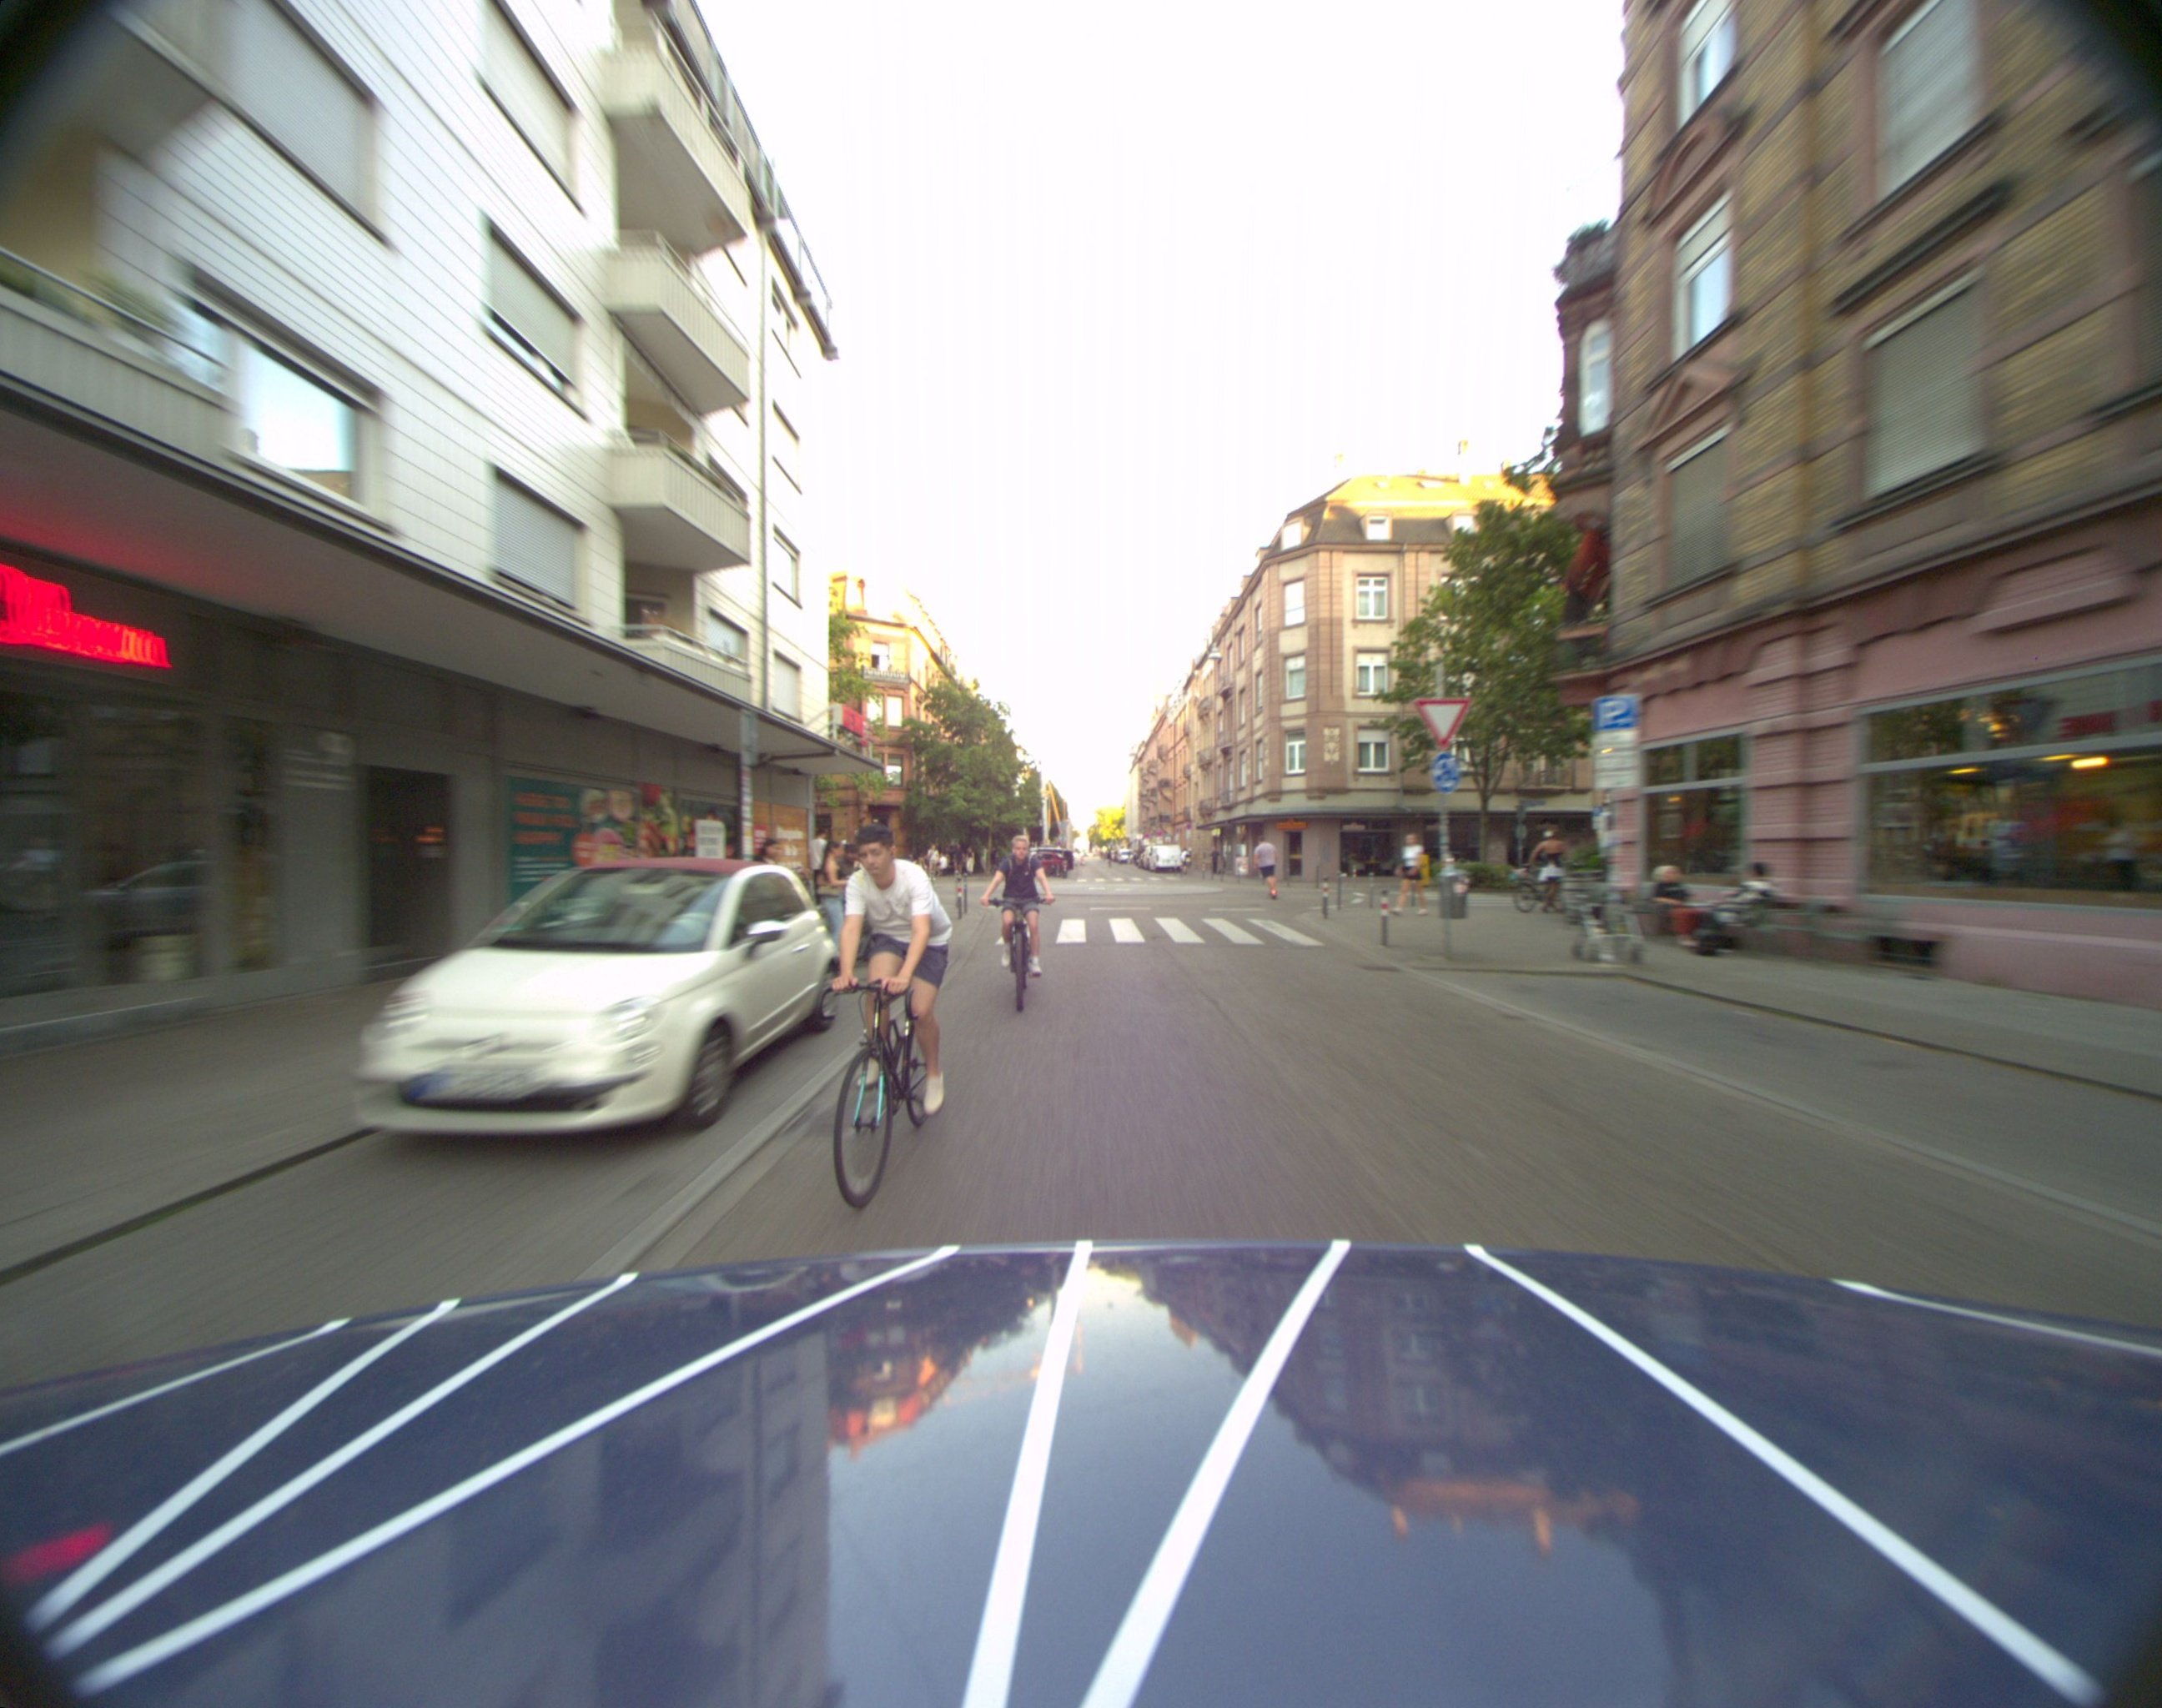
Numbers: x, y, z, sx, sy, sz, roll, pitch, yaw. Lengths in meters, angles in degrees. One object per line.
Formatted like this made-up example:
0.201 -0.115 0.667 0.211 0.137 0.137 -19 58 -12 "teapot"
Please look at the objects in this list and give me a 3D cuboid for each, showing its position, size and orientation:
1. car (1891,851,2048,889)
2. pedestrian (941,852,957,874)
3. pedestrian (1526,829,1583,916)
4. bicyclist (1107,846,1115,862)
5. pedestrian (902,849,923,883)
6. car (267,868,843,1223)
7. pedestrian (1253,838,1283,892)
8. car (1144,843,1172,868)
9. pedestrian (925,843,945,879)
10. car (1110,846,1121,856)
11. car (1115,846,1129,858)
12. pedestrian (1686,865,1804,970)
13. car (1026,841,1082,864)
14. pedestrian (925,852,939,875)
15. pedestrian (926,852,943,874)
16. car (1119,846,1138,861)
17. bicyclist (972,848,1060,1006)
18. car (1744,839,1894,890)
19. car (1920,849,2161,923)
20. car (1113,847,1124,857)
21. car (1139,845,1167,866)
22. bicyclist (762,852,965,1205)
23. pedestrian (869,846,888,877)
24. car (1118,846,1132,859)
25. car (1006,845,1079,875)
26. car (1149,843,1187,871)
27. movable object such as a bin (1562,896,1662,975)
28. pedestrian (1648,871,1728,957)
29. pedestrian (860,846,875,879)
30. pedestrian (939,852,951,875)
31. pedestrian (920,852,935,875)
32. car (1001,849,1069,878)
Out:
35.043 0.603 30.127 1.719 1.305 3.810 1 2 0 "car"
-7.838 0.521 45.105 0.639 1.265 0.676 1 3 39 "pedestrian"
10.374 0.406 16.635 1.024 1.844 0.723 -1 -1 -40 "pedestrian"
3.169 -0.028 80.234 0.754 1.631 1.200 -1 0 -6 "bicyclist"
-8.028 0.557 36.134 0.537 1.597 0.870 0 0 27 "pedestrian"
-2.906 0.909 5.145 1.597 1.492 3.422 1 1 -2 "car"
5.810 0.333 23.684 0.809 1.650 0.673 0 1 6 "pedestrian"
6.276 0.084 62.137 1.879 1.893 4.326 -1 1 1 "car"
-7.588 0.350 39.519 0.673 1.858 0.911 0 2 14 "pedestrian"
6.277 -0.567 136.897 1.908 1.729 3.849 -1 2 3 "car"
6.294 -0.293 116.070 1.998 1.729 4.000 -1 2 3 "car"
8.592 0.793 9.861 0.650 1.247 0.907 -4 1 -15 "pedestrian"
-2.789 -0.164 78.325 5.153 2.182 2.333 -2 2 -25 "car"
-8.646 0.548 44.057 0.675 1.265 0.639 -2 2 -15 "pedestrian"
-8.652 0.533 44.900 0.673 1.265 0.641 0 2 26 "pedestrian"
6.025 -0.079 96.561 2.141 1.811 4.540 -1 1 0 "car"
-0.658 0.729 7.978 0.794 1.562 0.826 -1 0 2 "bicyclist"
29.116 0.366 30.166 1.998 1.828 3.999 1 2 0 "car"
25.569 0.737 20.048 1.888 1.616 4.472 -1 2 0 "car"
6.439 -0.369 131.199 1.868 1.729 3.799 -1 2 3 "car"
6.444 0.126 68.136 2.141 1.811 4.540 -1 1 1 "car"
-1.002 0.757 3.739 0.650 1.500 0.953 -1 2 2 "bicyclist"
-10.790 0.414 40.550 0.673 1.628 0.642 1 3 36 "pedestrian"
6.403 -0.216 111.043 1.998 1.729 4.000 -1 2 3 "car"
-2.954 0.425 58.057 5.153 2.086 2.112 -2 2 -25 "car"
6.372 0.157 56.050 2.141 1.947 4.768 -1 1 -1 "car"
6.820 1.032 9.792 0.763 0.910 0.729 -1 2 -3 "movable object such as a bin"
8.607 0.833 10.807 0.504 1.137 0.791 -1 2 2 "pedestrian"
-11.458 0.445 40.851 0.675 1.735 0.640 -1 2 -9 "pedestrian"
-7.833 0.554 43.749 0.641 1.265 0.674 -2 2 -14 "pedestrian"
-8.777 0.516 43.432 0.676 1.265 0.639 -2 2 -27 "pedestrian"
-2.983 0.591 49.685 4.006 1.658 1.823 -2 2 -31 "car"
